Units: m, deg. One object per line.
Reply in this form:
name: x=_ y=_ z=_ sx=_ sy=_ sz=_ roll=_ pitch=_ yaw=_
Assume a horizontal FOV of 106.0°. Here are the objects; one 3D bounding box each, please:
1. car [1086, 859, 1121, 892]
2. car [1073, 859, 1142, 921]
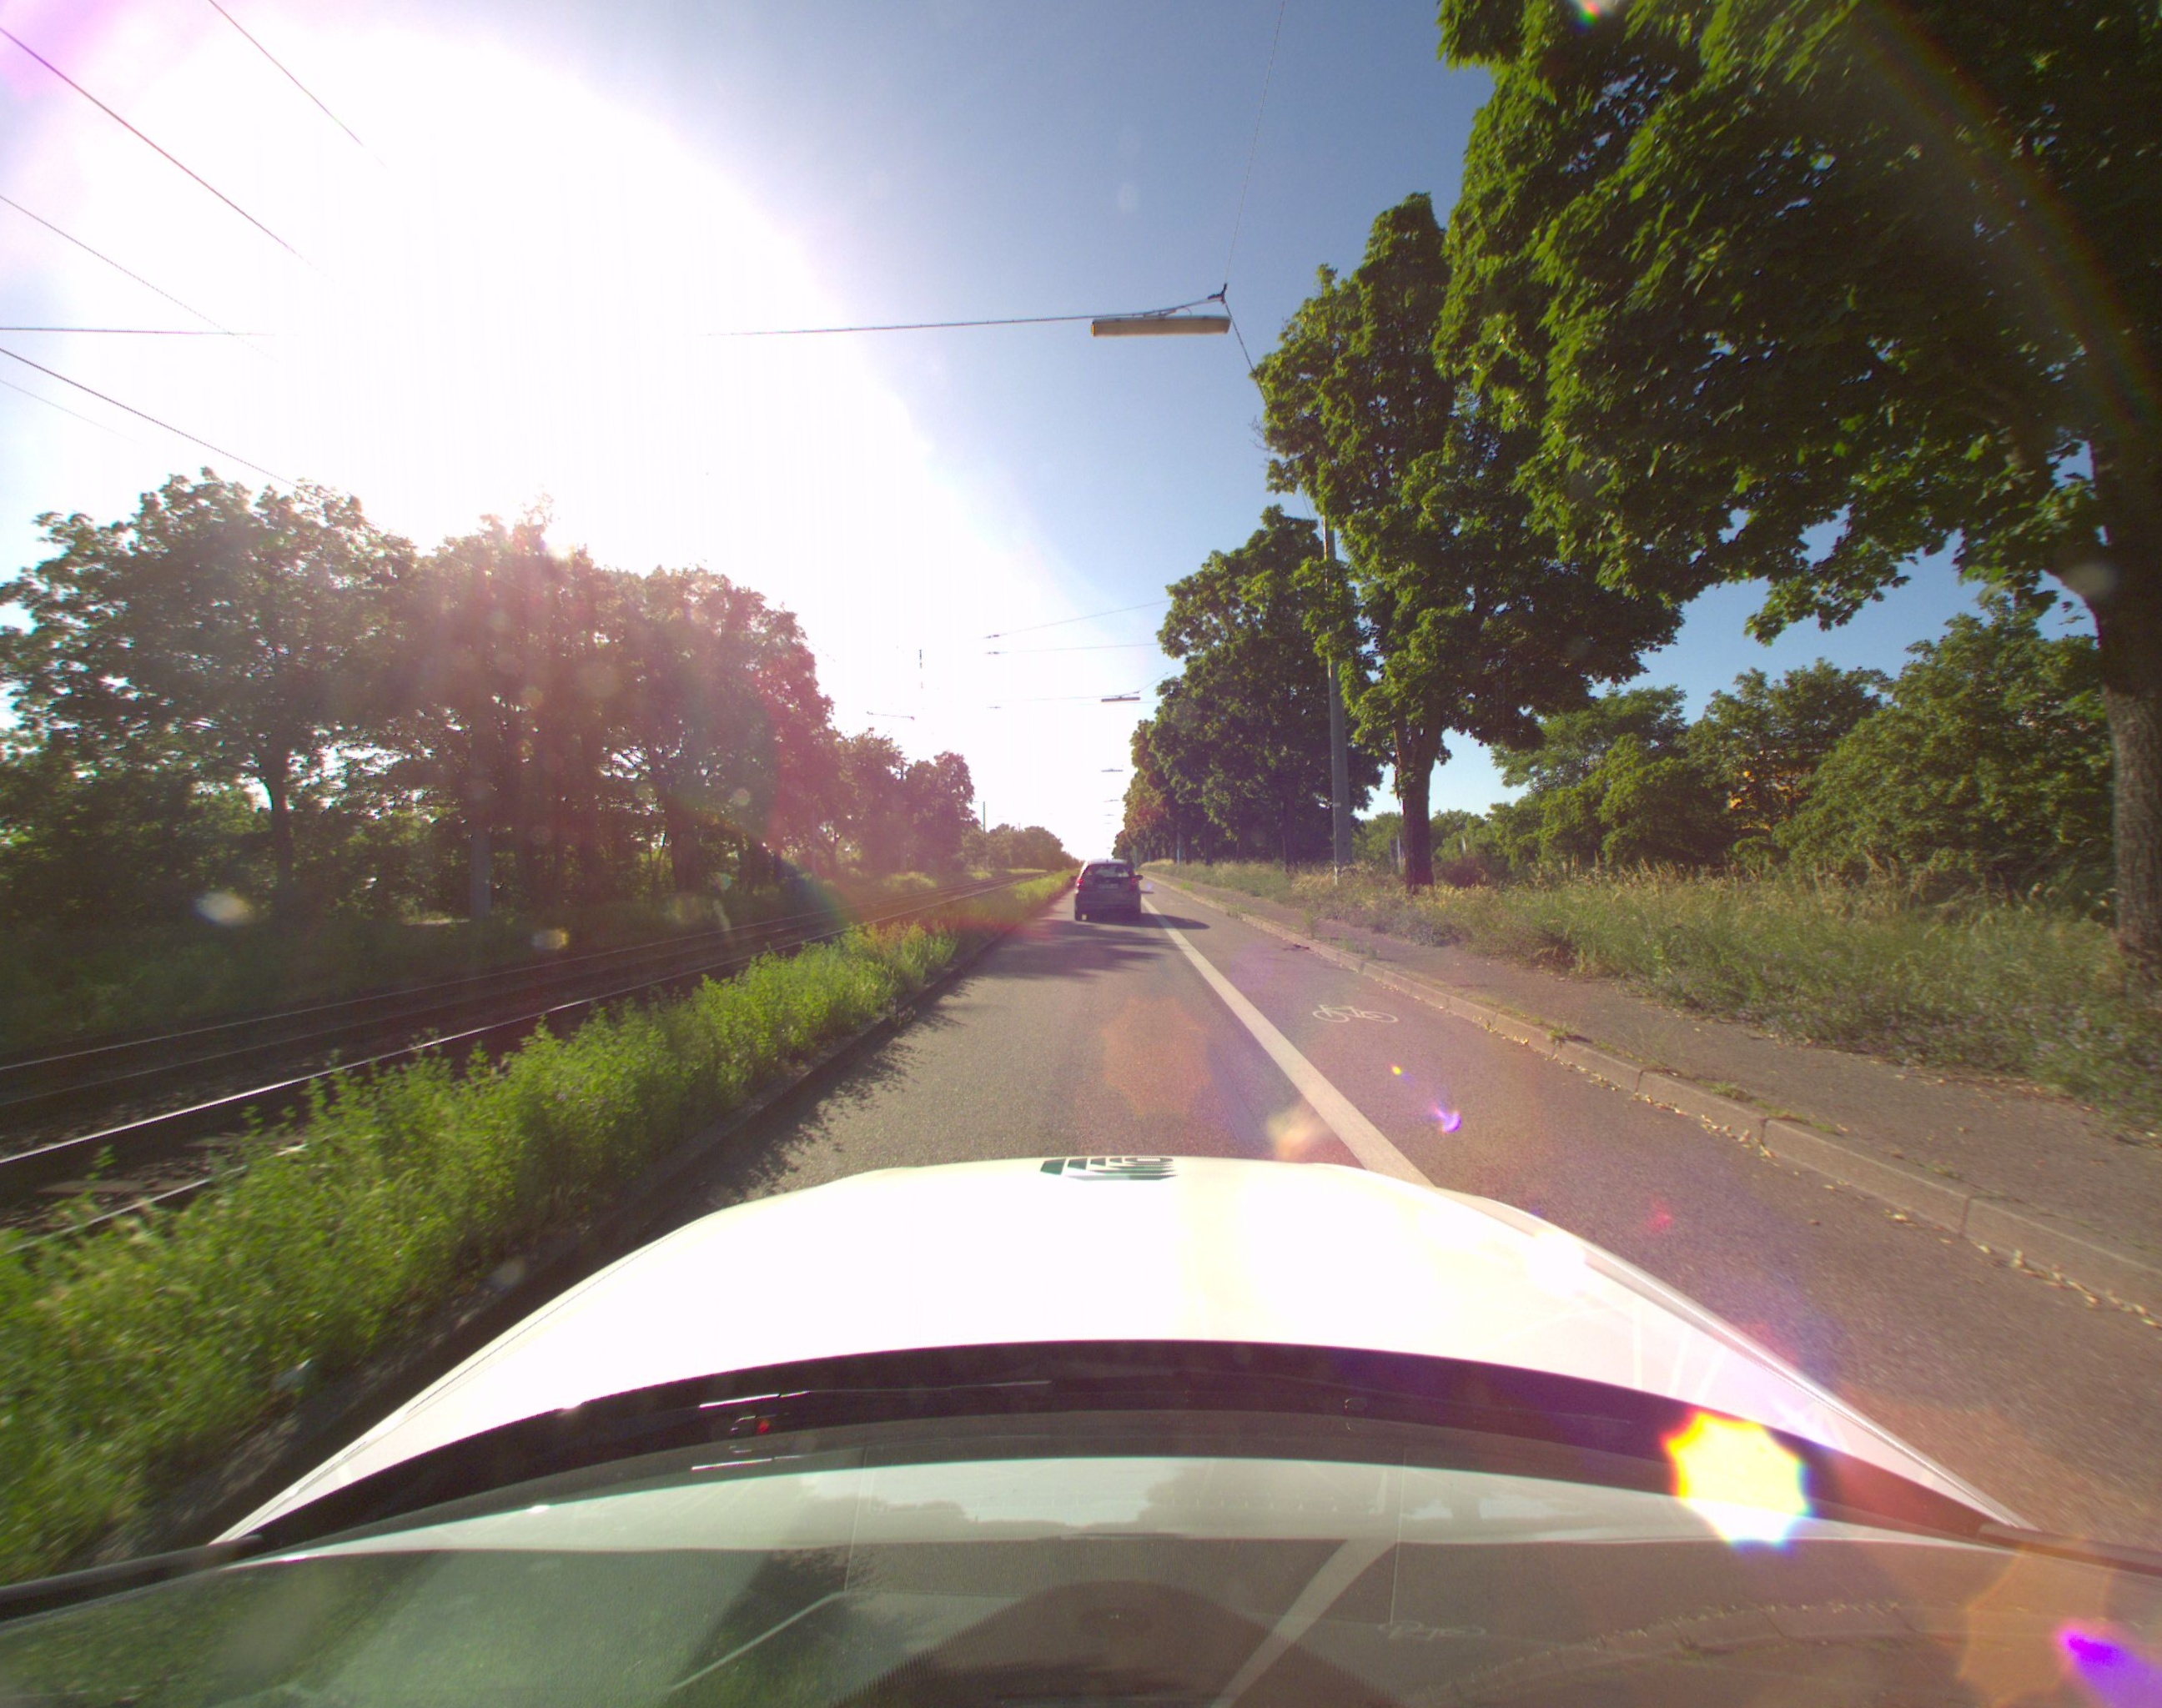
car: x=1.120 y=1.015 z=39.783 sx=1.648 sy=1.508 sz=3.813 roll=0 pitch=-1 yaw=2
car: x=0.680 y=0.890 z=21.614 sx=1.664 sy=1.508 sz=3.811 roll=0 pitch=-1 yaw=1
